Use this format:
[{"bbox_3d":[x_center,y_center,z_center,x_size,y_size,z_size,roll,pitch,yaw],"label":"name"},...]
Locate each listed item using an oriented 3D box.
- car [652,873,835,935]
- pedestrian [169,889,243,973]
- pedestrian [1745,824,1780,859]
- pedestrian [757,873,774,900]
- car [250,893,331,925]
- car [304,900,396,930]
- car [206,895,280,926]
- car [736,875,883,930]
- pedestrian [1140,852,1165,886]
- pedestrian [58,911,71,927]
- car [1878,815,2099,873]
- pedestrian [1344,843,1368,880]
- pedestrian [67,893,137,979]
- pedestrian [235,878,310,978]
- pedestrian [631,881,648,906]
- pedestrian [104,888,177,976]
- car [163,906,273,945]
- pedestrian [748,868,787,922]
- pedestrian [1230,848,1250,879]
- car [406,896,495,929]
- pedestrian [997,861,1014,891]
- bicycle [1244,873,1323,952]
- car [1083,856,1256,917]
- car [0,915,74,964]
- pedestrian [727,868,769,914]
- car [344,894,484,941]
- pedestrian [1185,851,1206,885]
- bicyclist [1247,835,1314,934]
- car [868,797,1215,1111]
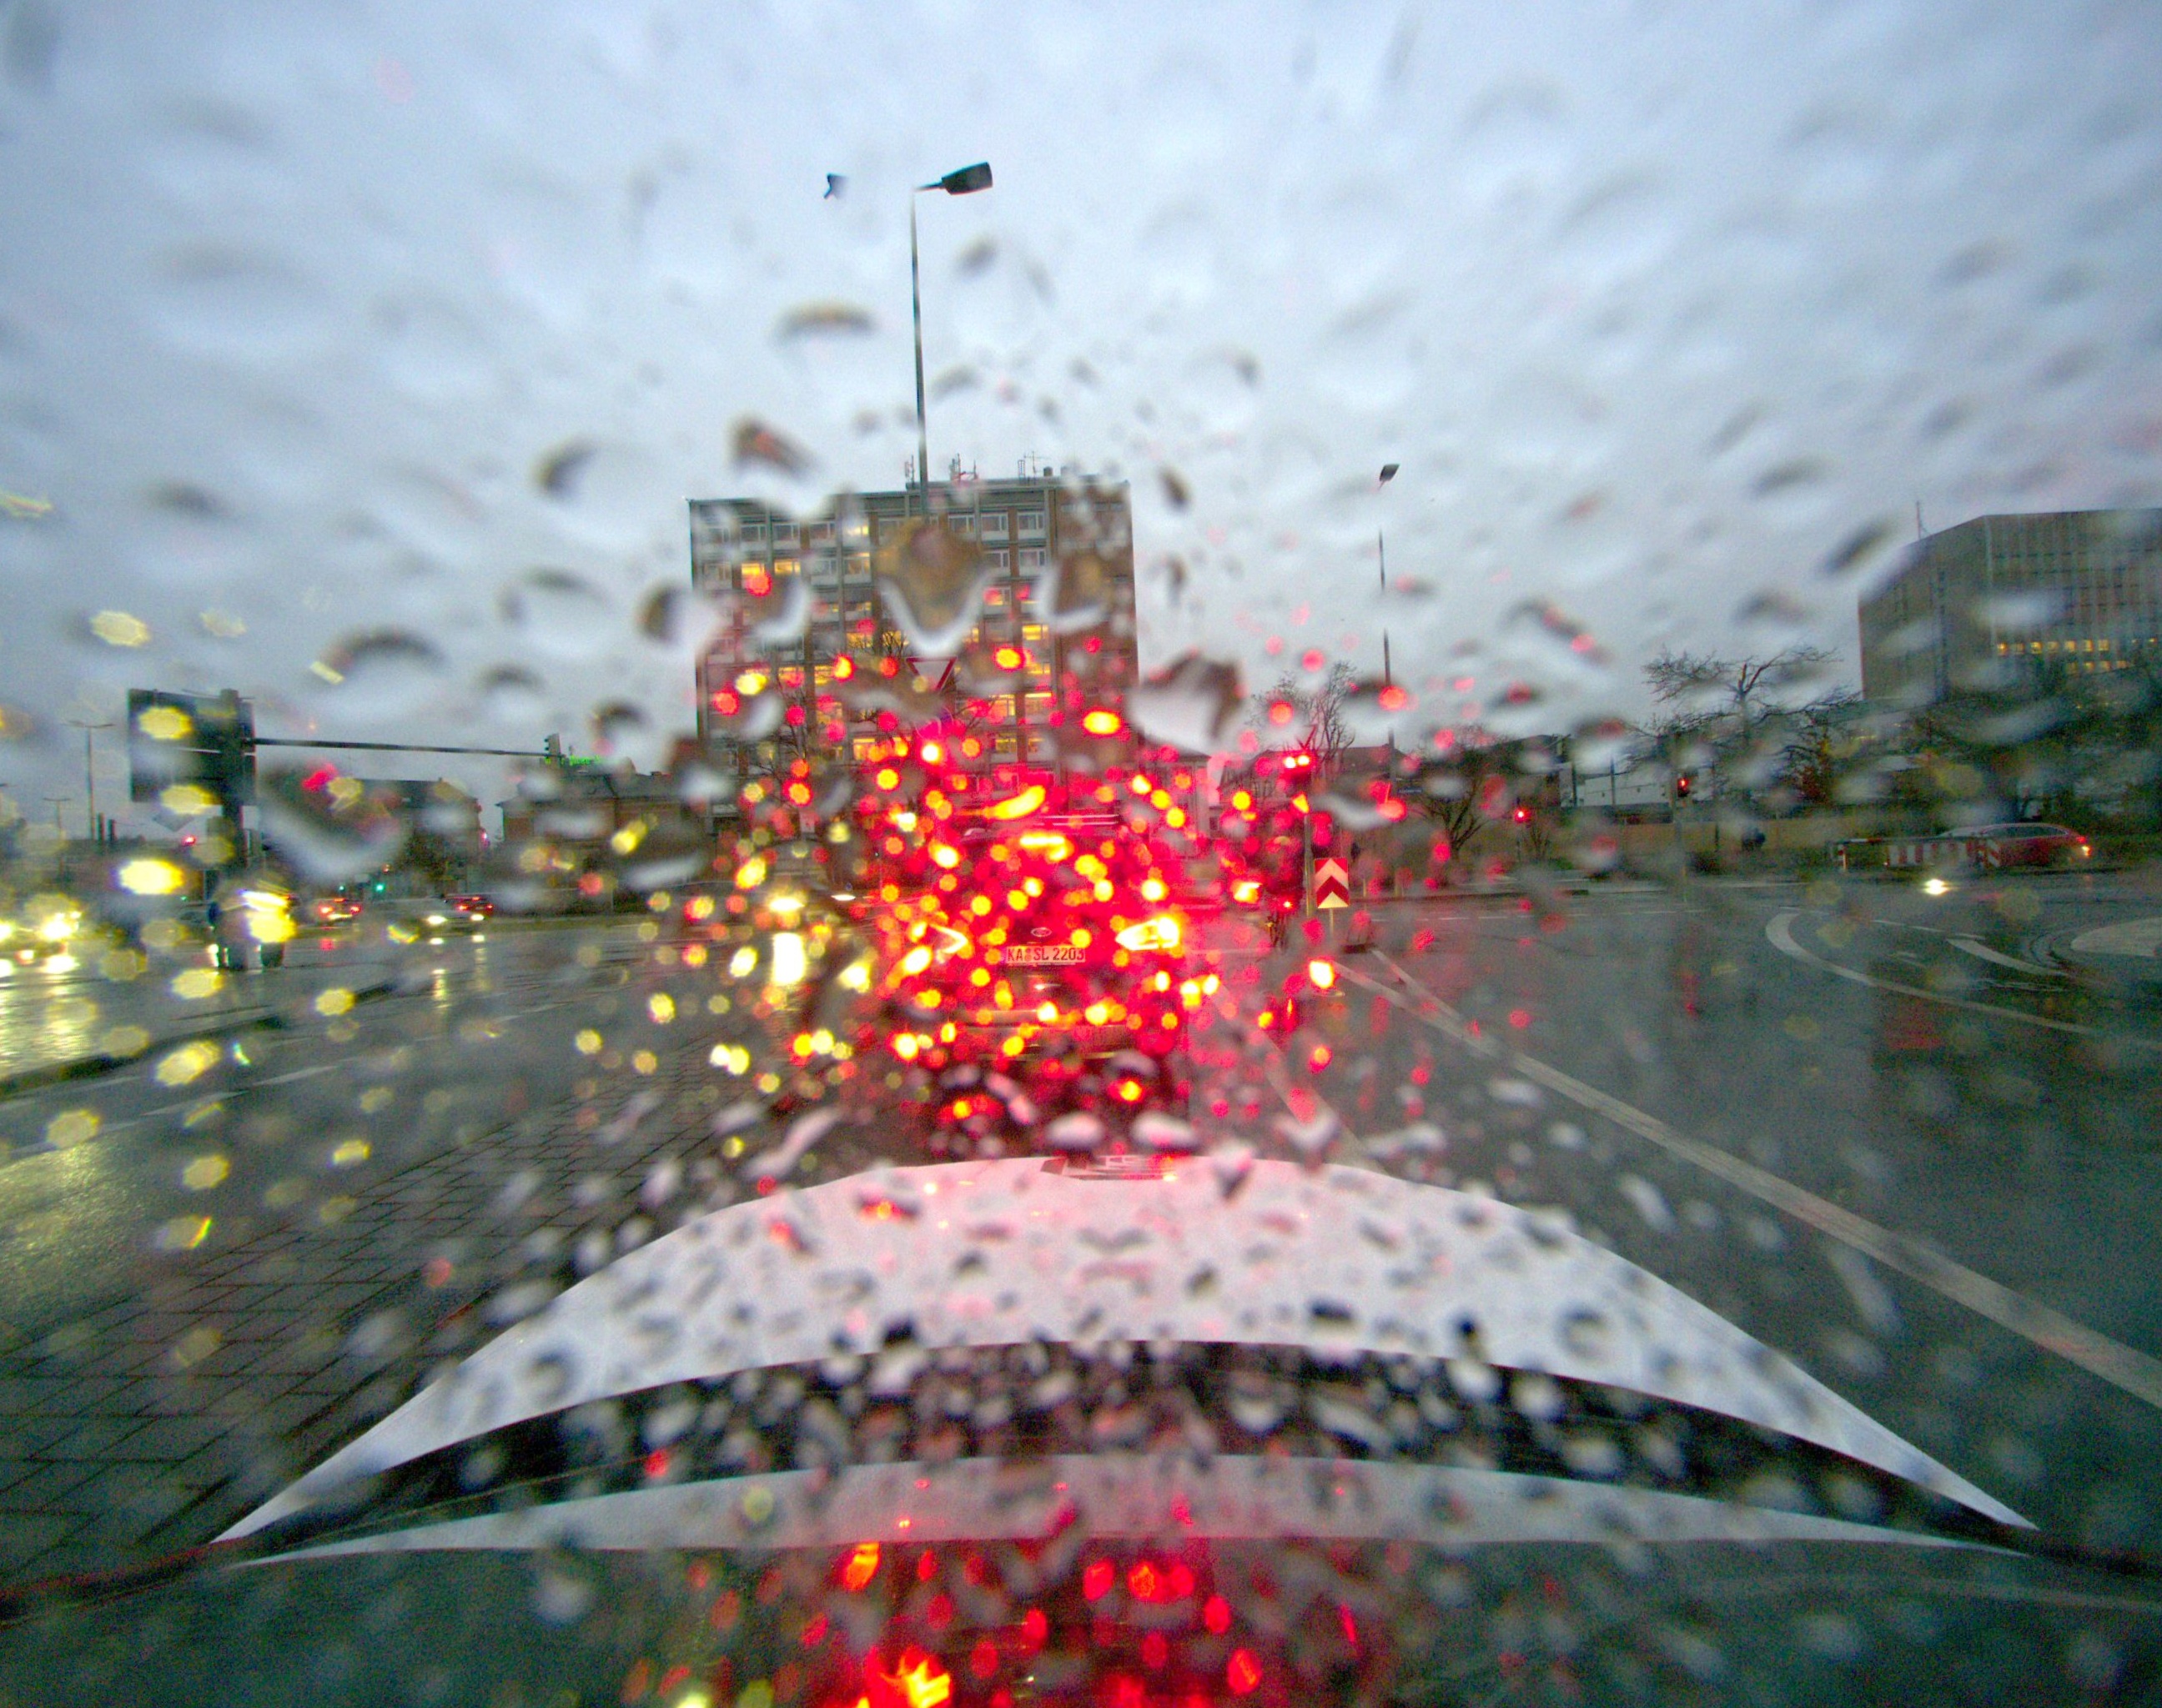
[{"bbox_3d":[-9.454,1.404,22.884,4.543,1.477,1.819,-3,-1,16],"label":"car"},{"bbox_3d":[-19.562,1.710,18.224,0.653,1.755,0.856,-3,0,18],"label":"pedestrian"},{"bbox_3d":[33.196,-0.605,39.670,0.957,1.603,0.796,-3,0,6],"label":"pedestrian"},{"bbox_3d":[-20.240,2.080,52.230,0.753,1.628,0.560,-3,0,16],"label":"pedestrian"},{"bbox_3d":[-51.169,3.538,52.759,1.649,1.826,3.609,-1,-1,39],"label":"car"},{"bbox_3d":[-43.831,3.628,48.906,1.582,1.482,3.840,-1,-1,31],"label":"car"},{"bbox_3d":[-47.813,3.197,46.484,3.950,1.568,1.838,-1,-1,27],"label":"car"},{"bbox_3d":[-8.463,1.498,25.494,3.927,1.477,1.818,-3,-1,14],"label":"car"},{"bbox_3d":[3.829,0.788,43.792,1.127,1.720,0.984,-3,0,12],"label":"pedestrian"},{"bbox_3d":[-138.465,8.886,110.918,0.908,2.013,0.986,-3,0,42],"label":"pedestrian"},{"bbox_3d":[27.567,-0.268,24.882,4.390,1.477,1.814,-3,-1,6],"label":"car"},{"bbox_3d":[16.325,0.438,48.324,0.884,2.113,0.891,-3,0,-15],"label":"pedestrian"},{"bbox_3d":[-21.462,1.782,17.869,0.741,1.770,0.546,-3,0,-12],"label":"pedestrian"},{"bbox_3d":[-17.312,1.554,17.466,0.996,2.021,0.792,-3,0,-39],"label":"pedestrian"},{"bbox_3d":[-30.347,2.703,55.983,0.634,1.688,0.640,-3,0,18],"label":"pedestrian"},{"bbox_3d":[-20.776,1.709,18.007,0.733,1.838,0.674,-3,0,-11],"label":"pedestrian"},{"bbox_3d":[-37.966,3.165,35.813,4.614,1.477,1.821,-3,-1,23],"label":"car"},{"bbox_3d":[-11.972,1.553,31.158,0.922,1.978,0.962,-3,0,8],"label":"pedestrian"},{"bbox_3d":[8.391,0.495,43.000,0.920,1.533,1.045,-3,0,6],"label":"pedestrian"},{"bbox_3d":[-33.339,3.061,43.065,3.954,1.568,1.836,-1,-1,20],"label":"car"},{"bbox_3d":[-4.280,1.258,46.439,0.756,1.628,0.722,-3,0,5],"label":"pedestrian"},{"bbox_3d":[3.067,0.855,12.523,0.780,1.075,1.958,0,-1,2],"label":"bicycle"},{"bbox_3d":[2.526,0.906,22.970,4.544,1.477,1.818,-3,-1,14],"label":"car"},{"bbox_3d":[-40.427,3.251,30.836,3.952,1.577,1.785,-3,0,22],"label":"car"},{"bbox_3d":[-14.270,1.582,34.911,0.993,1.842,1.145,-3,2,21],"label":"pedestrian"},{"bbox_3d":[-25.214,2.393,30.805,4.619,1.477,1.819,-3,-1,17],"label":"car"},{"bbox_3d":[6.302,0.762,44.730,0.990,1.799,0.922,-3,0,10],"label":"pedestrian"},{"bbox_3d":[3.055,0.458,12.571,0.780,1.453,1.134,0,-1,2],"label":"bicyclist"},{"bbox_3d":[-0.170,0.590,6.679,1.986,1.789,4.001,0,-1,2],"label":"car"}]
